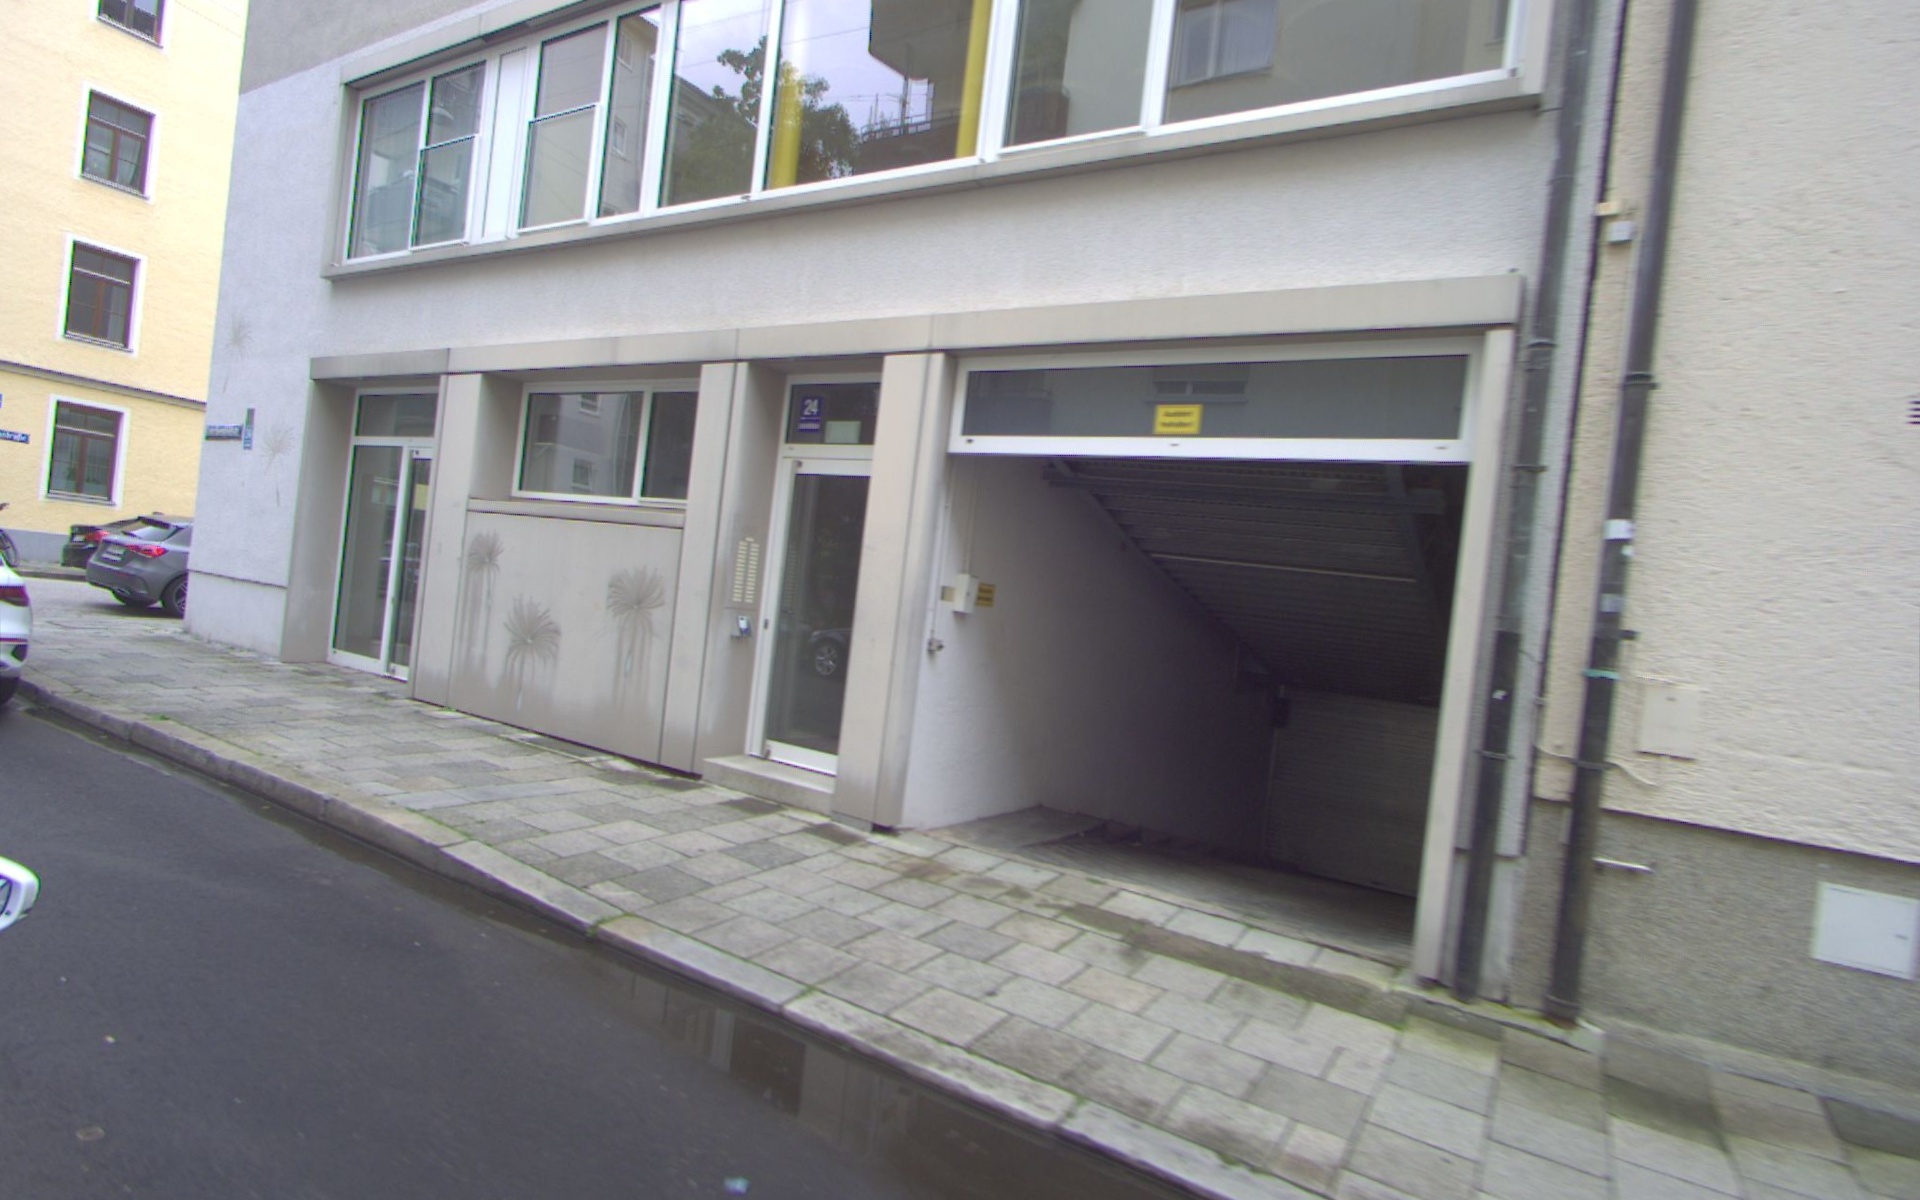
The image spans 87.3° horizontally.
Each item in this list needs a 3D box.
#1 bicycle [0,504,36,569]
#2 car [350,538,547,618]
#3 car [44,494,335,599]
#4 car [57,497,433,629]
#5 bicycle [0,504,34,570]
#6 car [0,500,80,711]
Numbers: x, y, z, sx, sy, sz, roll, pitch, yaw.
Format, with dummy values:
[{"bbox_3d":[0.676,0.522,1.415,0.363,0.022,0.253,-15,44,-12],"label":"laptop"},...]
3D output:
[{"bbox_3d":[-18.130,-1.225,18.410,0.367,1.154,1.714,9,2,31],"label":"bicycle"},{"bbox_3d":[-12.554,-0.501,24.938,1.684,1.511,3.979,4,-2,32],"label":"car"},{"bbox_3d":[-15.230,-1.007,20.145,1.683,1.512,4.219,6,-1,30],"label":"car"},{"bbox_3d":[-10.793,-0.480,15.527,1.966,1.417,4.211,9,1,29],"label":"car"},{"bbox_3d":[-18.513,-1.250,18.686,0.497,1.189,1.810,9,2,30],"label":"bicycle"},{"bbox_3d":[-8.468,-0.207,7.446,3.887,1.425,1.822,7,-1,32],"label":"car"}]
